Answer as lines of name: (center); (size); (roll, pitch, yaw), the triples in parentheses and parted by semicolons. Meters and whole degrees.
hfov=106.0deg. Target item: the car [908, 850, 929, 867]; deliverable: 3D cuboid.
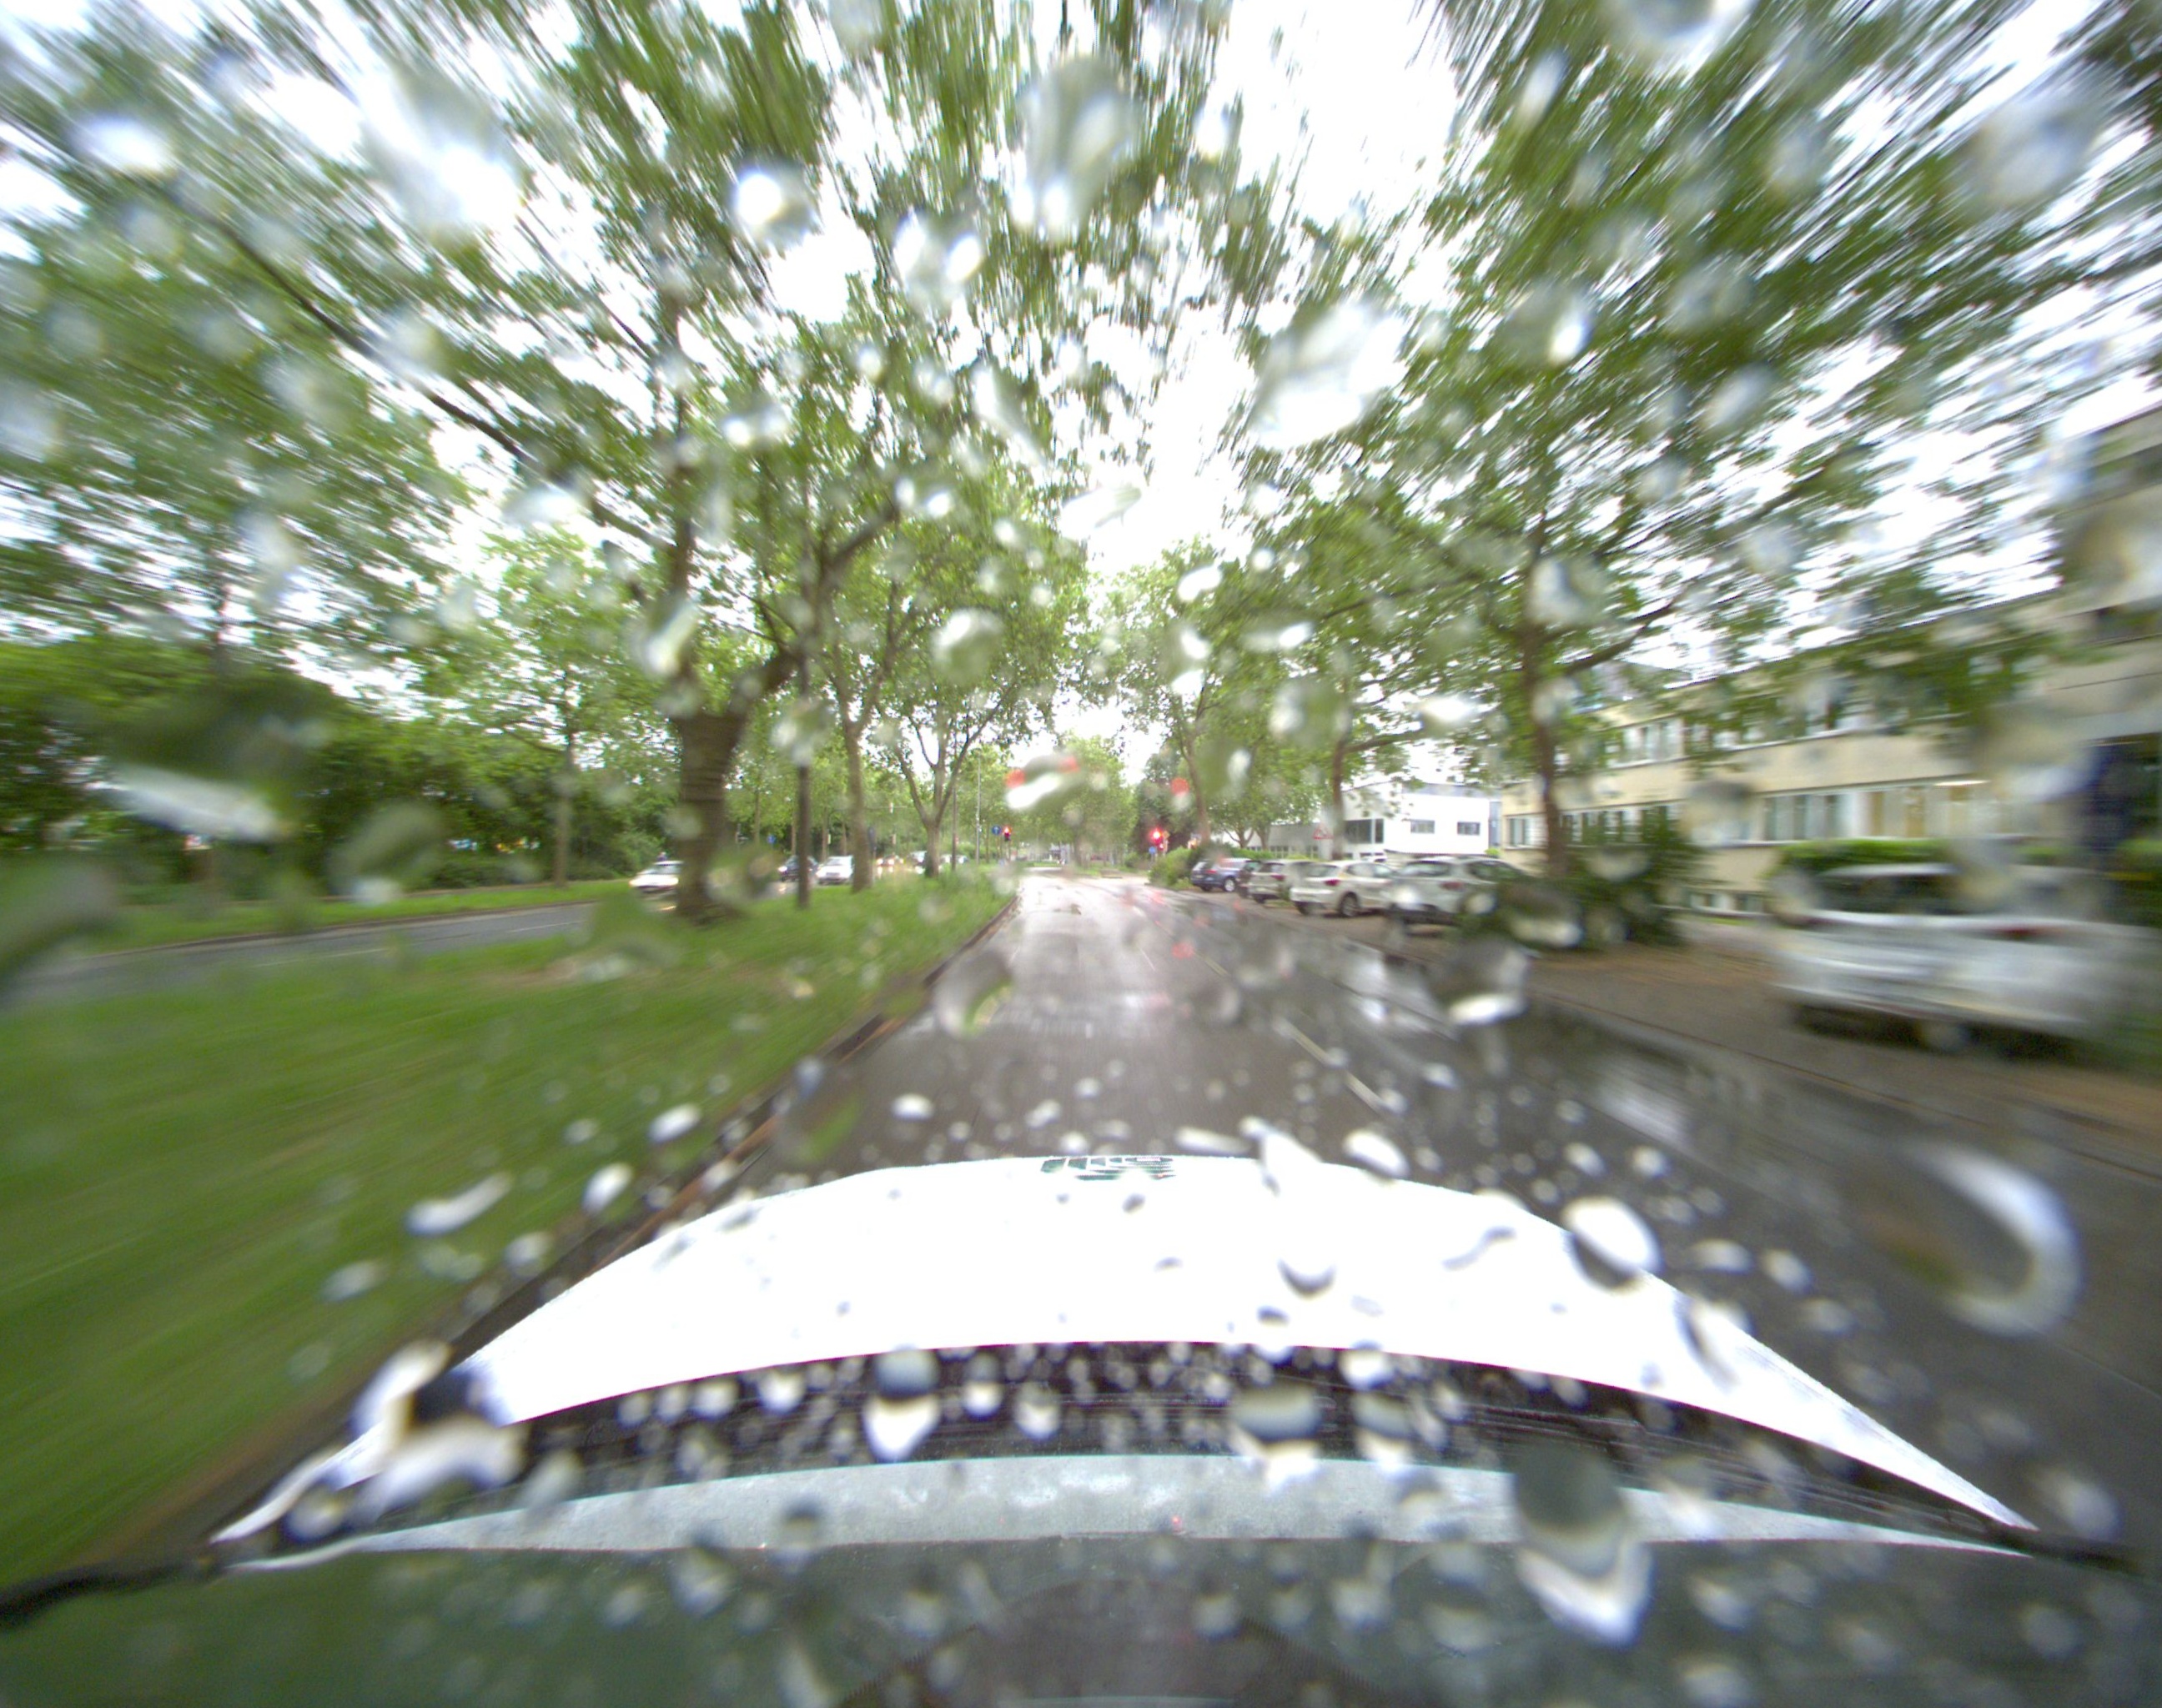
car: (-18.010, 0.506, 90.432); (1.741, 1.842, 5.109); (0, 0, -6)

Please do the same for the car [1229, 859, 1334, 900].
car: (7.529, 0.923, 30.579); (3.704, 1.416, 1.732); (0, -1, -31)

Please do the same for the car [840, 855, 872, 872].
car: (-20.239, 0.869, 73.322); (1.738, 1.476, 4.232); (0, 0, -1)

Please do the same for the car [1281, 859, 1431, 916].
car: (7.347, 0.848, 21.750); (3.701, 1.416, 1.734); (0, -1, -27)

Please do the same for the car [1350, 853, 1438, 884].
car: (18.204, 0.817, 47.486); (4.534, 1.757, 1.776); (0, -1, -8)

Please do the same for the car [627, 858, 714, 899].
car: (-15.854, 0.894, 31.661); (1.742, 1.476, 4.072); (0, 0, -8)

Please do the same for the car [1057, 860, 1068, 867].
car: (-4.073, 2.021, 177.388); (1.577, 1.373, 4.274); (0, 0, 11)

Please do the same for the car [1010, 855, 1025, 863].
car: (-17.781, 1.448, 228.028); (3.992, 2.014, 1.990); (1, -2, -14)

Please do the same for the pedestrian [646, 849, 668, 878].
pedestrian: (-24.485, 0.560, 47.076); (0.829, 1.674, 0.898); (0, -1, -6)

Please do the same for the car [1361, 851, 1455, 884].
car: (17.872, 0.713, 44.606); (4.530, 1.757, 1.746); (0, -1, -5)

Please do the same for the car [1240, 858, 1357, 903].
car: (7.308, 0.857, 27.299); (3.704, 1.416, 1.758); (0, -1, -31)

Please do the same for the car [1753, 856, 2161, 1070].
car: (7.908, 0.744, 7.234); (4.051, 1.428, 1.732); (0, -1, -31)

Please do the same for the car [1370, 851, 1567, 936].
car: (7.918, 0.729, 16.560); (4.052, 1.539, 1.731); (1, -1, -32)

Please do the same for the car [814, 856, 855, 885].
car: (-14.193, 0.922, 47.082); (1.744, 1.591, 4.314); (0, 0, -10)

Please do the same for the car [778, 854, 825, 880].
car: (-17.793, 0.790, 52.035); (1.740, 1.591, 4.204); (0, 0, -4)

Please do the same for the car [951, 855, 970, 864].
car: (-18.657, 0.790, 126.134); (1.577, 1.373, 4.275); (0, 0, 11)

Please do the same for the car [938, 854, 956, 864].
car: (-19.600, 0.749, 119.209); (1.579, 1.373, 3.340); (0, 0, 7)

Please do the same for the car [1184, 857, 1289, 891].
car: (6.955, 0.872, 36.324); (4.506, 1.459, 1.734); (0, -1, -27)

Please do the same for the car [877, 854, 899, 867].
car: (-21.962, 0.745, 92.798); (1.740, 1.476, 4.229); (0, 0, -3)
